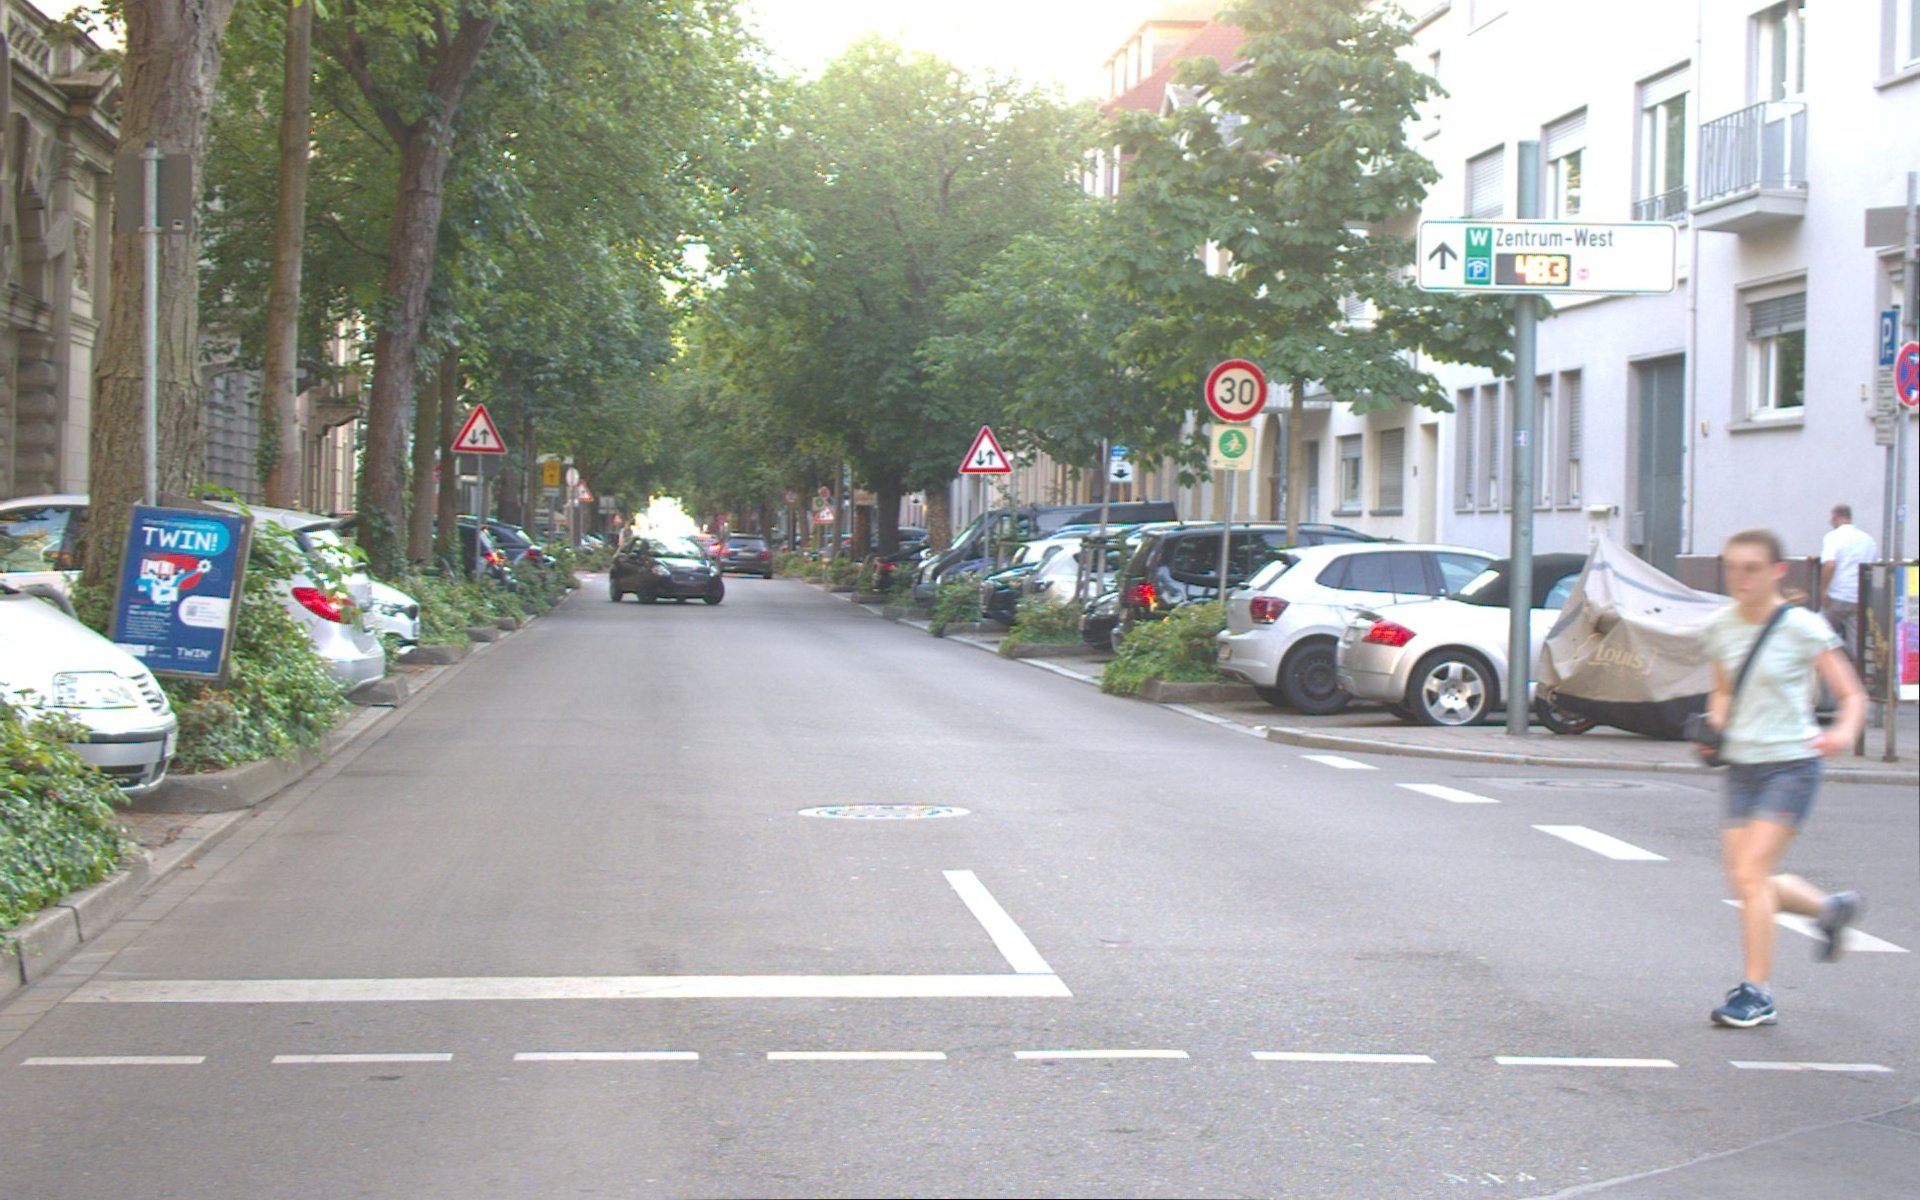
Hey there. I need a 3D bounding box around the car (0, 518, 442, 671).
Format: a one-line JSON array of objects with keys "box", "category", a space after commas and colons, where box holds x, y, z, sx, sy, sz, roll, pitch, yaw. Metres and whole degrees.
[{"box": [-7.336, -0.073, 32.909, 4.547, 1.367, 1.833, 1, 1, -4], "category": "car"}]

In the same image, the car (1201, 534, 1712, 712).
[{"box": [4.185, 0.176, 29.340, 4.014, 1.437, 1.707, 1, 1, -5], "category": "car"}]

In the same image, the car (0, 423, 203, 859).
[{"box": [-5.743, 0.132, 15.135, 4.547, 1.828, 1.834, 1, 1, -7], "category": "car"}]

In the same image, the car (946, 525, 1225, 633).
[{"box": [1.872, -0.328, 52.096, 4.014, 1.525, 1.707, 1, 1, -5], "category": "car"}]

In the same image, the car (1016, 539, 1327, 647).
[{"box": [2.859, -0.111, 46.970, 4.014, 1.404, 1.707, 1, 1, -5], "category": "car"}]

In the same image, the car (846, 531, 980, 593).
[{"box": [-1.478, -1.181, 106.949, 4.014, 1.824, 1.707, 1, 1, -5], "category": "car"}]

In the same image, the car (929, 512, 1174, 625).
[{"box": [1.550, -0.552, 59.347, 4.014, 1.824, 1.707, 1, 1, -5], "category": "car"}]

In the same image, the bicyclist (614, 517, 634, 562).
[{"box": [-10.952, -1.973, 112.075, 0.571, 1.465, 0.643, 2, 0, -11], "category": "bicyclist"}]

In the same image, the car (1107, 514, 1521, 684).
[{"box": [3.631, -0.023, 35.720, 4.014, 1.684, 1.707, 1, 1, -5], "category": "car"}]

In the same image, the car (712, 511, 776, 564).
[{"box": [-6.908, -2.001, 109.549, 1.825, 1.556, 4.028, 2, 1, -6], "category": "car"}]

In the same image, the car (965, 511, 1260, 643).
[{"box": [2.155, -0.339, 49.224, 4.014, 1.809, 1.707, 1, 1, -5], "category": "car"}]

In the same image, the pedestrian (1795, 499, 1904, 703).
[{"box": [7.769, 0.001, 30.057, 0.704, 1.746, 0.699, 2, 1, -1], "category": "pedestrian"}]

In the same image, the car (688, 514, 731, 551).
[{"box": [-11.703, -3.147, 160.315, 1.924, 1.654, 4.001, 1, 1, -5], "category": "car"}]

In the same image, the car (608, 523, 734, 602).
[{"box": [-6.246, -0.832, 73.854, 1.903, 1.572, 3.993, 2, 1, -16], "category": "car"}]

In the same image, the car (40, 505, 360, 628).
[{"box": [-10.344, -0.466, 46.999, 4.038, 1.584, 1.833, 1, 1, -4], "category": "car"}]

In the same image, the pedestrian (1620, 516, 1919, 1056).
[{"box": [2.611, 0.535, 10.569, 0.701, 1.552, 0.978, 3, 2, 41], "category": "pedestrian"}]

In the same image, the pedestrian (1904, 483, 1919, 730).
[{"box": [7.525, 0.061, 25.332, 0.767, 1.835, 0.944, 2, 1, -4], "category": "pedestrian"}]

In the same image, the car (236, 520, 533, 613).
[{"box": [-9.216, -0.544, 55.346, 4.547, 1.405, 1.833, 1, 1, -4], "category": "car"}]

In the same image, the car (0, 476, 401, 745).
[{"box": [-6.073, 0.036, 22.683, 4.547, 1.683, 1.833, 1, 1, -4], "category": "car"}]

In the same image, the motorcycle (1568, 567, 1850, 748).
[{"box": [5.122, 0.383, 23.581, 1.800, 1.195, 0.613, 1, 1, 5], "category": "motorcycle"}]

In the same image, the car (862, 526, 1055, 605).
[{"box": [-0.051, -0.755, 74.263, 4.014, 1.596, 1.707, 1, 1, -5], "category": "car"}]

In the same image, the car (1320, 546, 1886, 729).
[{"box": [4.944, 0.271, 26.748, 4.014, 1.338, 1.707, 1, 1, -4], "category": "car"}]
